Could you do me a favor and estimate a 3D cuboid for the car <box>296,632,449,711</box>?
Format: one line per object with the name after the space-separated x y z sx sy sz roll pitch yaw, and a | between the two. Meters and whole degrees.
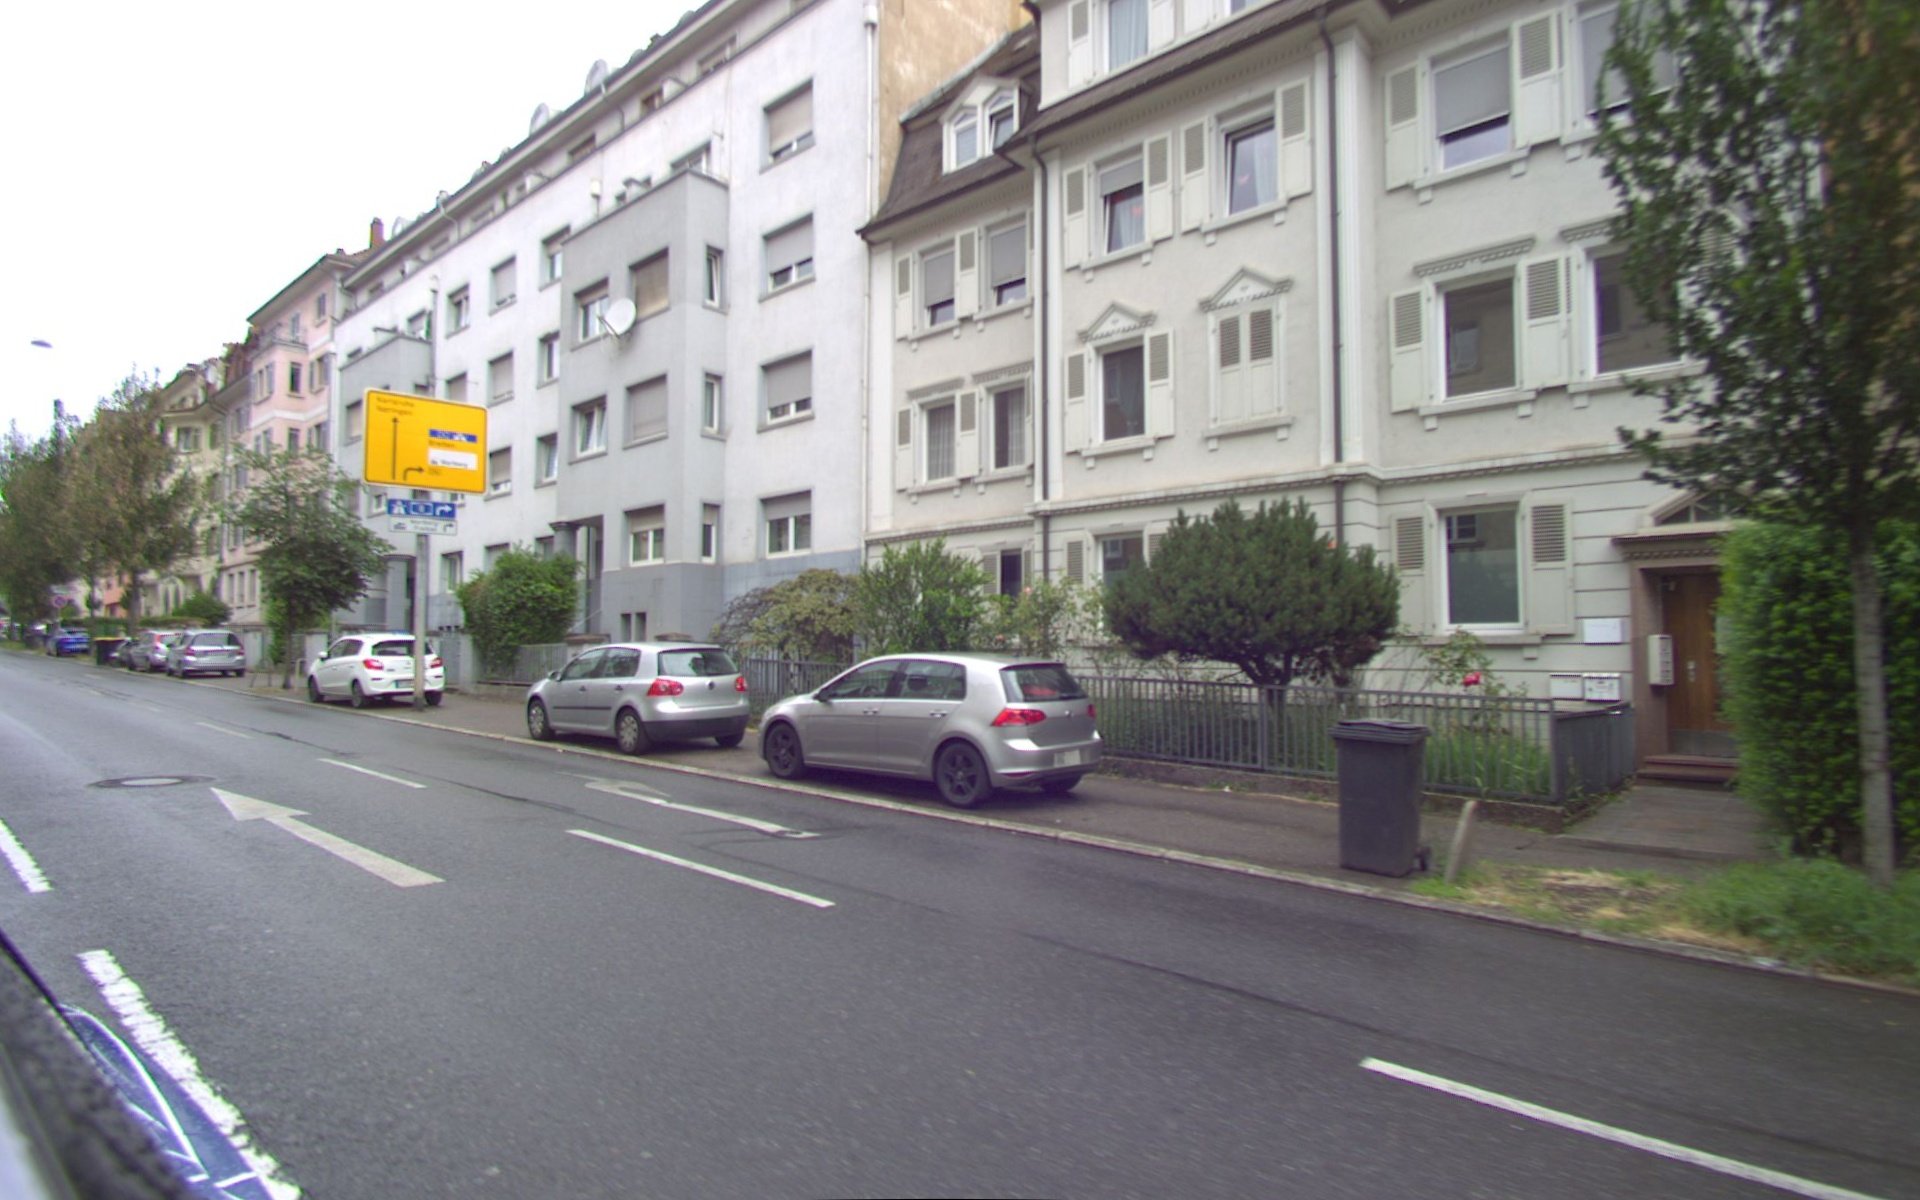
-12.552 1.450 21.546 3.794 1.519 1.629 -1 -3 40 | car

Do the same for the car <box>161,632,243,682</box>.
-24.189 1.759 32.242 1.582 1.462 3.890 1 -2 -45 | car

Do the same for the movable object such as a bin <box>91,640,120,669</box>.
-33.821 2.154 40.046 0.483 1.066 0.816 0 0 42 | movable object such as a bin

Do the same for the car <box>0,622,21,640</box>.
-99.598 3.172 104.306 1.865 1.861 3.880 0 -3 39 | car

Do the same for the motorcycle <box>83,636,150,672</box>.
-31.702 2.029 38.056 1.783 1.325 0.743 1 -3 -7 | motorcycle

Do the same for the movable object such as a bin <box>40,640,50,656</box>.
-52.577 2.751 58.170 0.572 0.918 0.360 0 -1 41 | movable object such as a bin

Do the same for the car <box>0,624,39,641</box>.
-97.073 3.344 103.656 1.592 1.634 3.877 0 -3 42 | car

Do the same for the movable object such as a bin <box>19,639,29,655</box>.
-53.232 2.650 57.529 0.572 0.896 0.360 -1 -1 41 | movable object such as a bin

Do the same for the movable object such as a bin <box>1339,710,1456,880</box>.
3.124 1.353 7.219 0.600 1.066 0.623 0 -3 42 | movable object such as a bin

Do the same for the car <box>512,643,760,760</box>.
-4.737 1.350 14.544 3.908 1.401 1.664 -2 -2 42 | car

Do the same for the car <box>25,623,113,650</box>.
-66.411 2.701 75.474 1.917 1.919 4.671 0 -1 39 | car

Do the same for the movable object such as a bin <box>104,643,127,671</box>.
-32.778 2.213 39.278 0.480 1.066 0.522 0 0 20 | movable object such as a bin

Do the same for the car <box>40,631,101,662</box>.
-43.423 2.255 49.386 4.601 1.396 1.661 -1 -3 42 | car

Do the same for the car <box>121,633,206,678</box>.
-27.890 1.896 35.394 3.885 1.407 1.584 0 -2 41 | car

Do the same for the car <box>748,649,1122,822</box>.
-0.397 1.273 10.771 3.935 1.401 1.664 -1 -2 42 | car

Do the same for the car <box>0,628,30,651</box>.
-64.582 2.662 68.718 4.136 1.428 1.663 -1 -4 42 | car
